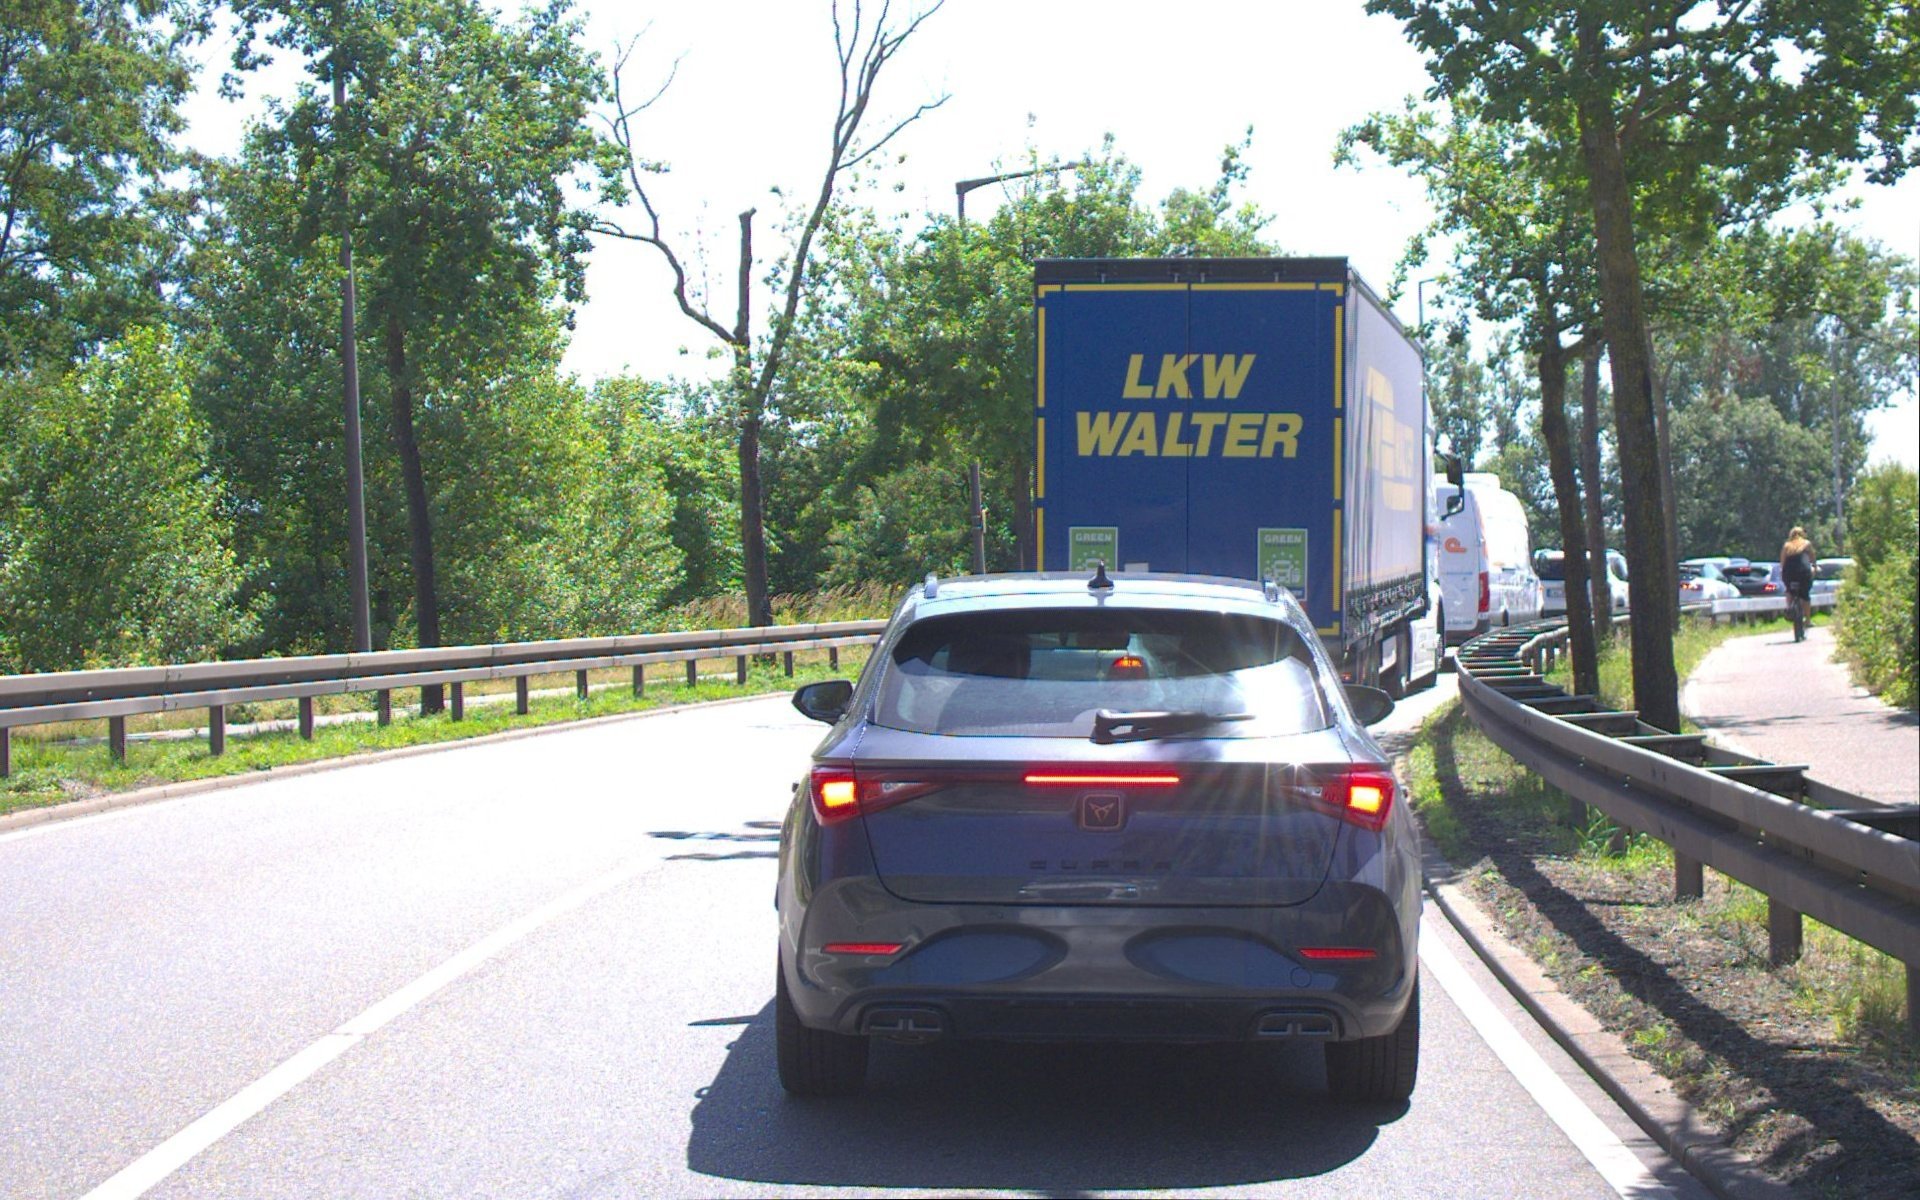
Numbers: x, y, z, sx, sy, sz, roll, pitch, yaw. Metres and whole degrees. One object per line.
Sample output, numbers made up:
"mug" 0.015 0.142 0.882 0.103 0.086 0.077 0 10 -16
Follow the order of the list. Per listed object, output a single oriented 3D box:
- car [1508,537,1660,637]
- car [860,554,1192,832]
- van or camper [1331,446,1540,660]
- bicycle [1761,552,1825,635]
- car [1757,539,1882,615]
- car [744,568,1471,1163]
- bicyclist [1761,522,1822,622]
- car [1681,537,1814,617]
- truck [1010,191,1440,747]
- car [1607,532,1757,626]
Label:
"car" 11.210 -0.244 61.524 1.995 1.706 4.616 1 0 19
"car" 0.487 0.489 20.819 1.809 1.503 4.000 0 0 4
"van or camper" 7.166 -0.692 51.206 2.468 2.988 6.082 1 0 14
"bicycle" 12.768 -0.107 52.724 0.861 1.232 2.308 1 0 12
"car" 20.668 -0.550 82.526 1.996 1.762 4.748 1 1 25
"car" 0.331 0.625 10.242 1.744 1.427 3.880 0 0 -1
"bicyclist" 12.732 -0.431 52.662 0.861 1.518 0.980 1 0 12
"car" 17.511 -0.521 76.311 1.996 1.711 4.862 1 1 24
"truck" 3.272 -1.121 35.964 2.951 4.433 16.791 1 0 10
"car" 14.548 -0.422 69.052 1.996 1.802 4.839 1 1 24
